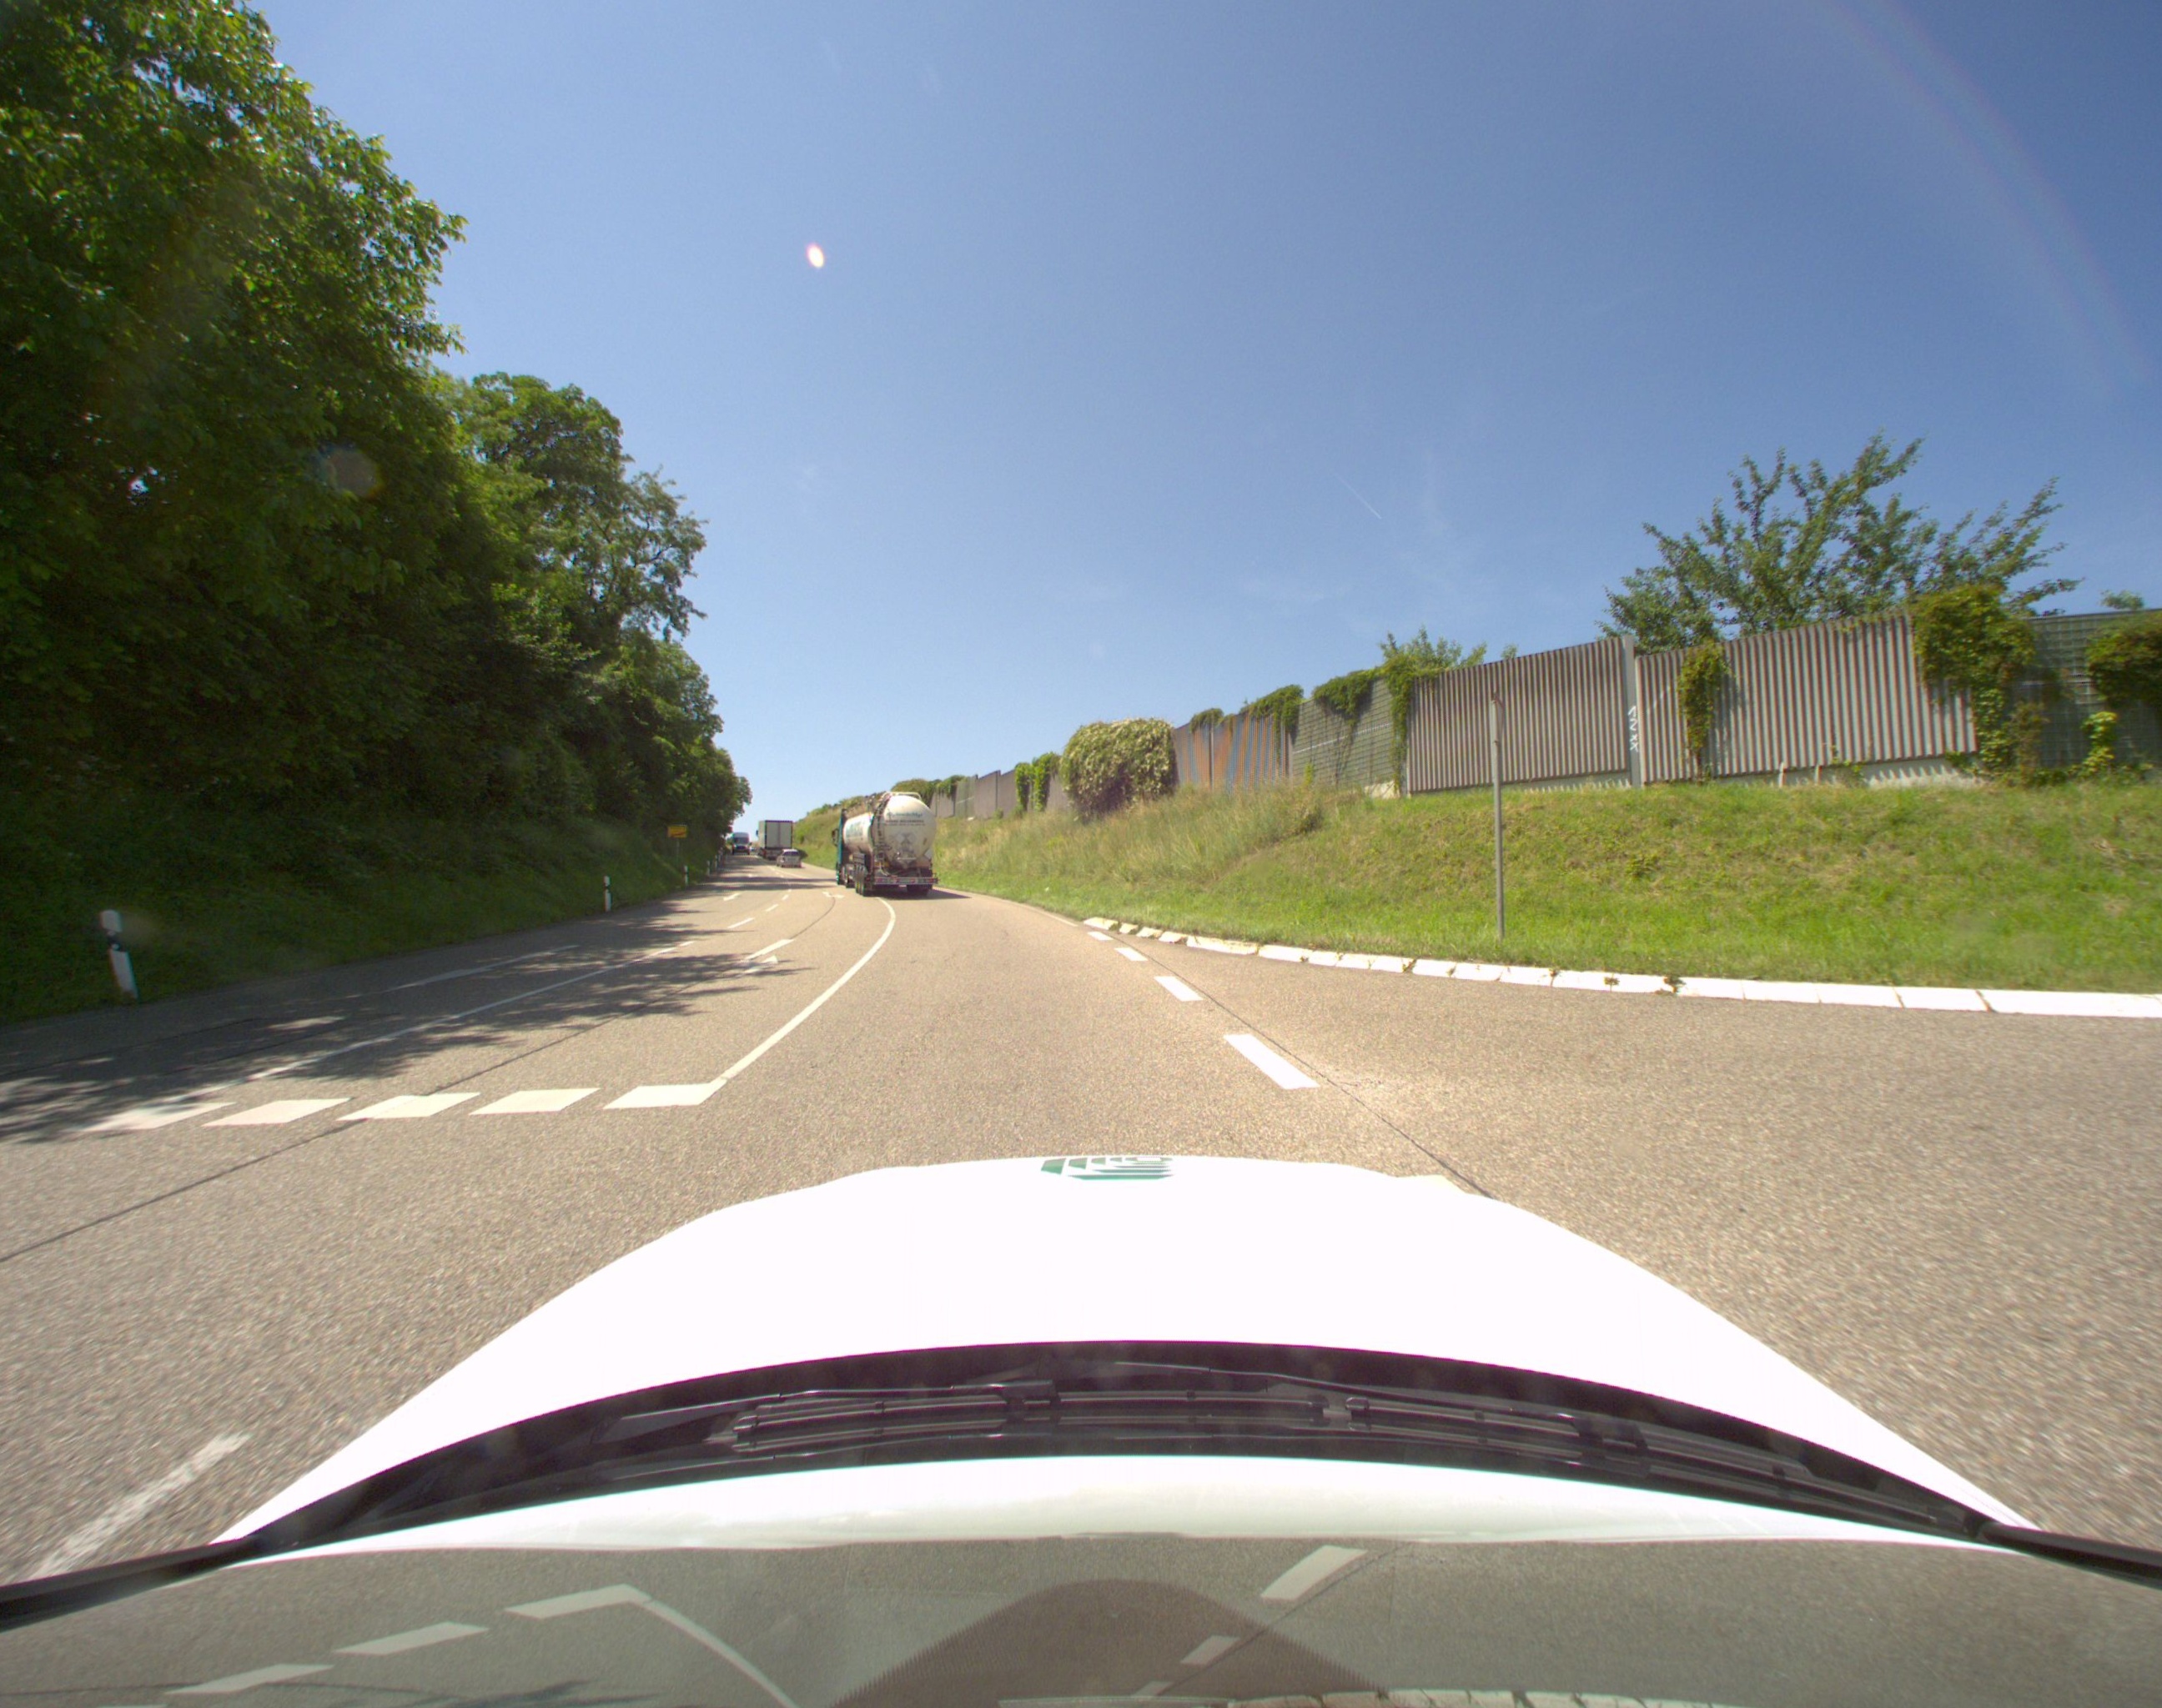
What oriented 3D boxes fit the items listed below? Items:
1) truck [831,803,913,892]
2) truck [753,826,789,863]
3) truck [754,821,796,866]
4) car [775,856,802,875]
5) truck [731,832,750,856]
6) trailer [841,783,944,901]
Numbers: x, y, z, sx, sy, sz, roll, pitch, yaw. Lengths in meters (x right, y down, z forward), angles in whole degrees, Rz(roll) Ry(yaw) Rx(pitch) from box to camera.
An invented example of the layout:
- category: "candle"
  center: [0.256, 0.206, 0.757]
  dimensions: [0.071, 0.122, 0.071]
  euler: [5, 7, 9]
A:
- category: "truck"
  center: [-10.349, -0.341, 39.824]
  dimensions: [2.739, 3.929, 7.207]
  euler: [-2, 1, -23]
- category: "truck"
  center: [-34.972, -1.053, 91.722]
  dimensions: [3.205, 3.933, 8.186]
  euler: [2, -1, -24]
- category: "truck"
  center: [-32.585, -1.173, 86.400]
  dimensions: [3.205, 4.309, 11.706]
  euler: [4, 0, -24]
- category: "car"
  center: [-24.986, 0.978, 69.437]
  dimensions: [1.656, 1.509, 3.606]
  euler: [3, -2, -27]
- category: "truck"
  center: [-41.642, -1.242, 99.534]
  dimensions: [2.062, 2.686, 5.937]
  euler: [1, 1, -23]
- category: "trailer"
  center: [-8.364, -0.448, 34.783]
  dimensions: [2.671, 4.188, 11.821]
  euler: [-2, 0, -20]
